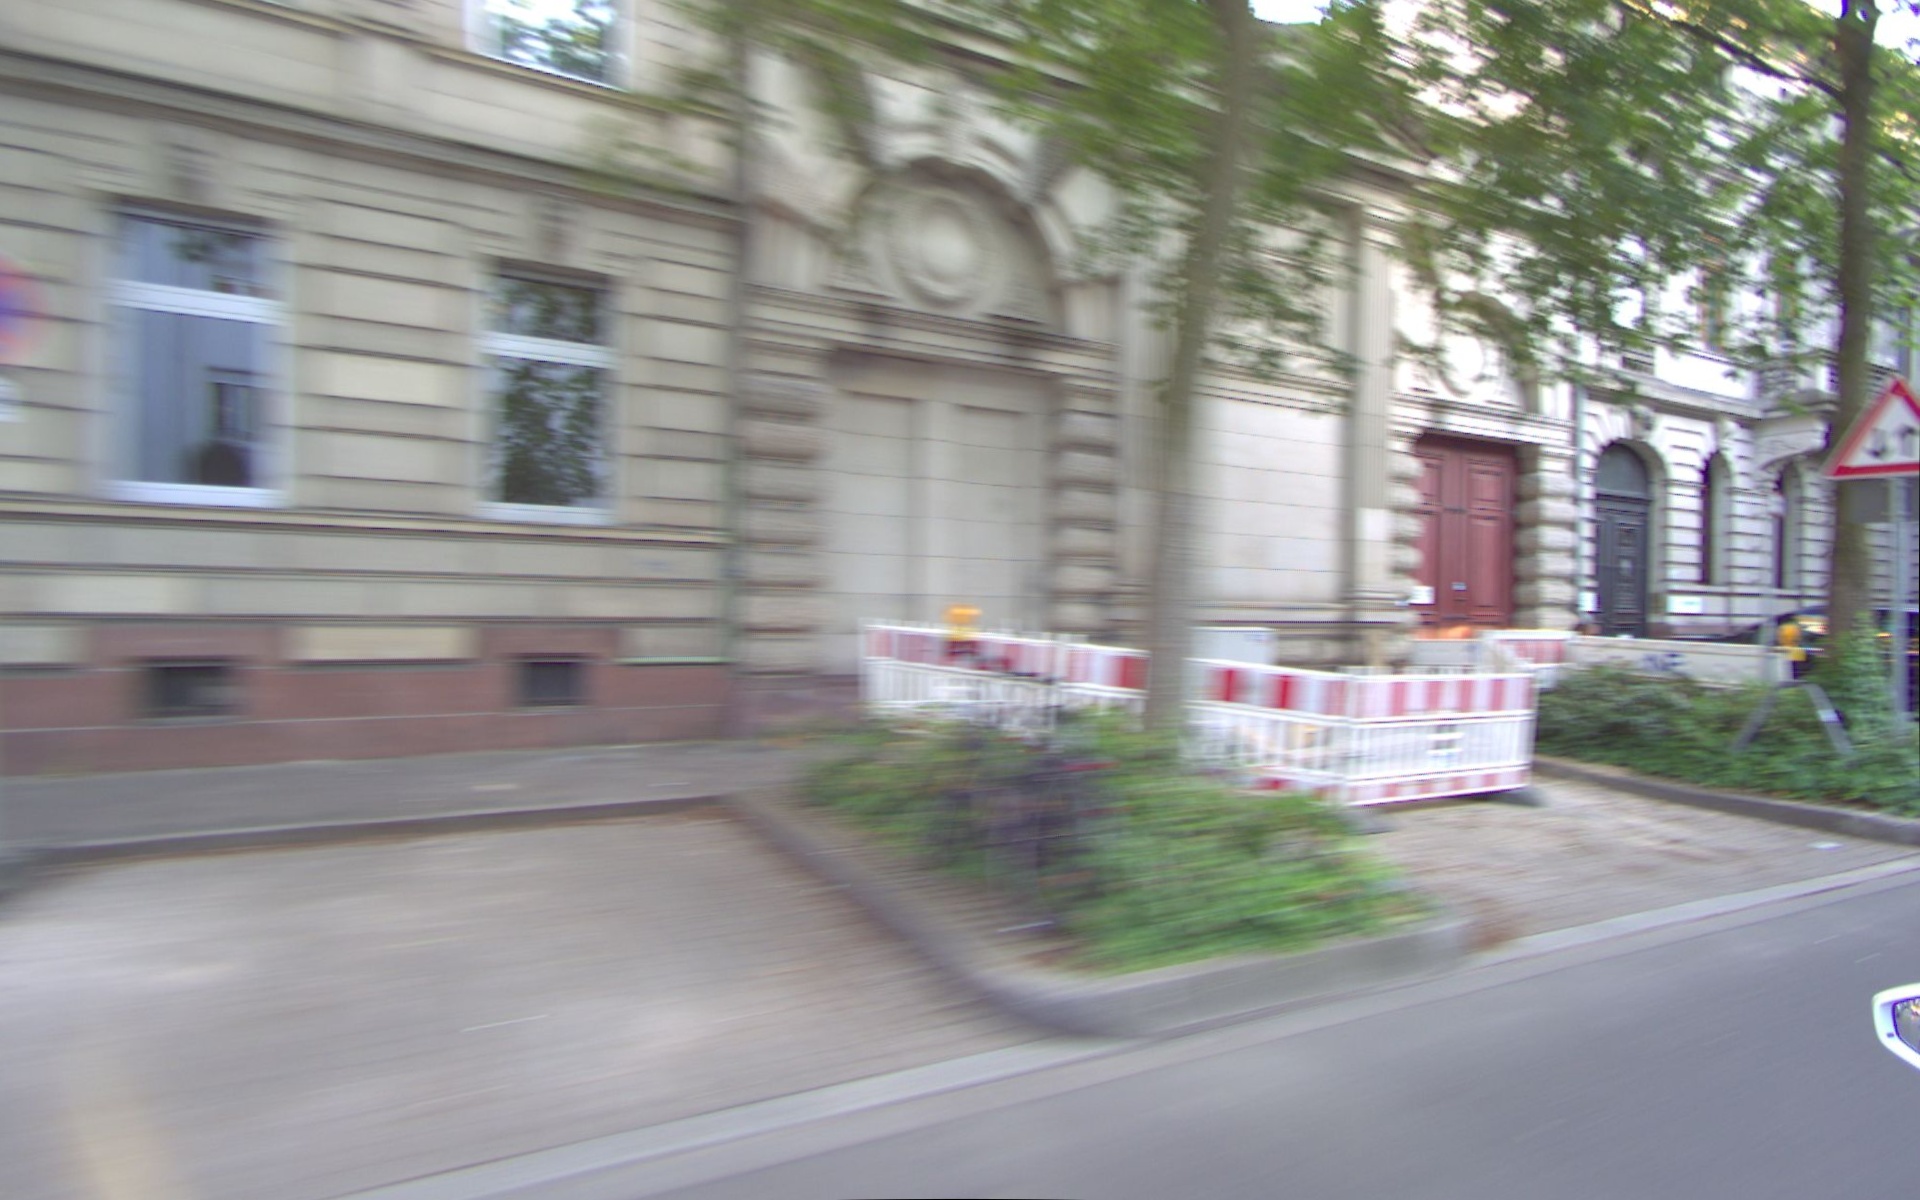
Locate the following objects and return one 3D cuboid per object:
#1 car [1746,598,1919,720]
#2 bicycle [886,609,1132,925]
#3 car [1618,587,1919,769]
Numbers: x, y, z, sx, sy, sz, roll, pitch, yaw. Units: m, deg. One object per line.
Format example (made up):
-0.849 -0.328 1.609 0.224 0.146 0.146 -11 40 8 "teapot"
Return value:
12.688 0.789 12.678 1.741 1.406 3.951 0 3 -26 "car"
0.153 0.689 4.958 0.493 1.248 1.768 2 0 -22 "bicycle"
9.766 0.802 10.924 1.758 1.618 3.950 1 3 -27 "car"
